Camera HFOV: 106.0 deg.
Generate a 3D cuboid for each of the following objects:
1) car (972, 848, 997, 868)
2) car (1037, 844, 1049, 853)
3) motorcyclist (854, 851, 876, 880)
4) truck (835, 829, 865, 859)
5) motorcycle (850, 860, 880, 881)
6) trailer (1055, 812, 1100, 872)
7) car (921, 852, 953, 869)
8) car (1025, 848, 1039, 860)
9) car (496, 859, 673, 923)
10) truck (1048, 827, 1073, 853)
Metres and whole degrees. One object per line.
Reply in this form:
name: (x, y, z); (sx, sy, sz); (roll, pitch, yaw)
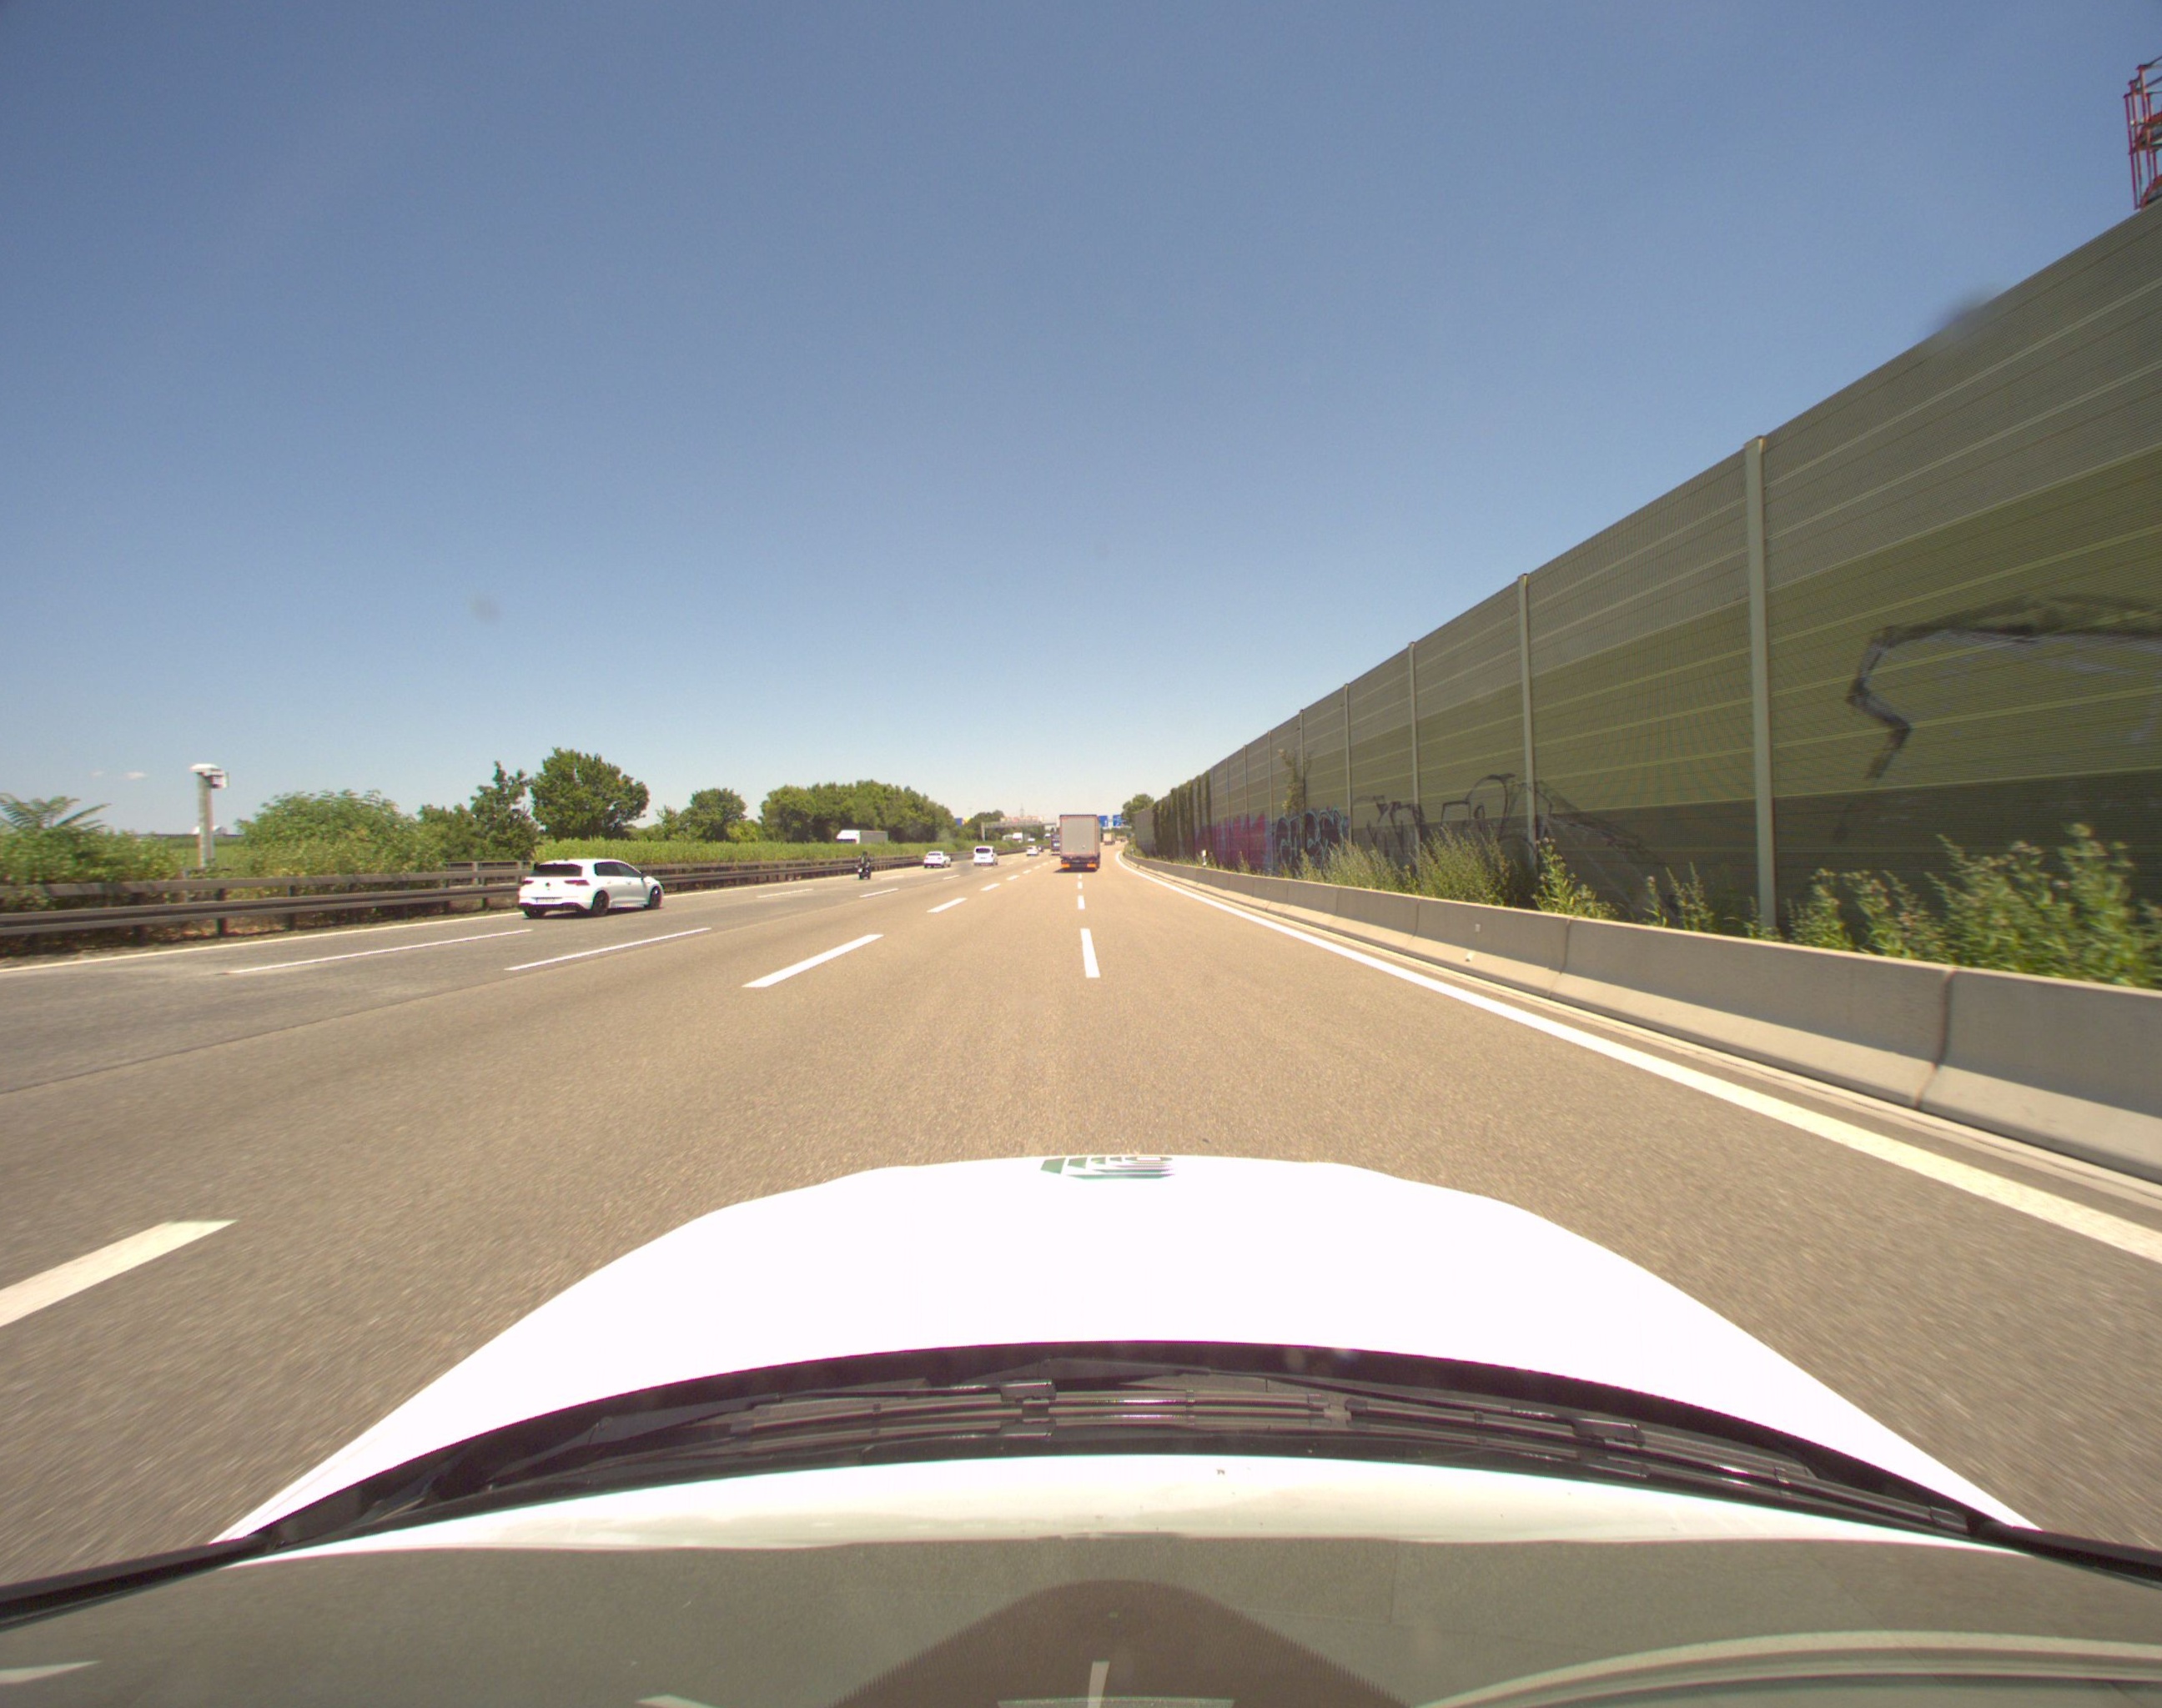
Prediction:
car: (-9.288, 0.446, 78.869); (1.925, 1.852, 4.690); (-2, -1, -1)
car: (-7.840, -1.041, 168.320); (1.897, 1.717, 4.633); (-2, -1, 2)
motorcyclist: (-12.302, 0.666, 46.421); (0.890, 1.597, 1.299); (-1, 0, 0)
truck: (-31.139, -1.310, 109.890); (2.529, 3.947, 5.167); (-1, 0, 1)
motorcycle: (-12.285, 0.919, 46.408); (0.910, 1.089, 2.849); (-1, 0, 0)
trailer: (-0.153, -0.871, 61.409); (2.918, 4.015, 12.041); (-2, 1, 1)
car: (-12.764, 0.567, 72.662); (1.870, 1.440, 5.126); (-1, 0, 1)
car: (-7.947, -0.025, 133.292); (1.898, 1.851, 4.631); (-2, 1, 0)
car: (-12.691, 0.871, 21.234); (1.776, 1.440, 4.667); (-1, 0, -1)
truck: (-3.421, -2.538, 143.200); (3.734, 4.269, 14.499); (0, 1, 1)
